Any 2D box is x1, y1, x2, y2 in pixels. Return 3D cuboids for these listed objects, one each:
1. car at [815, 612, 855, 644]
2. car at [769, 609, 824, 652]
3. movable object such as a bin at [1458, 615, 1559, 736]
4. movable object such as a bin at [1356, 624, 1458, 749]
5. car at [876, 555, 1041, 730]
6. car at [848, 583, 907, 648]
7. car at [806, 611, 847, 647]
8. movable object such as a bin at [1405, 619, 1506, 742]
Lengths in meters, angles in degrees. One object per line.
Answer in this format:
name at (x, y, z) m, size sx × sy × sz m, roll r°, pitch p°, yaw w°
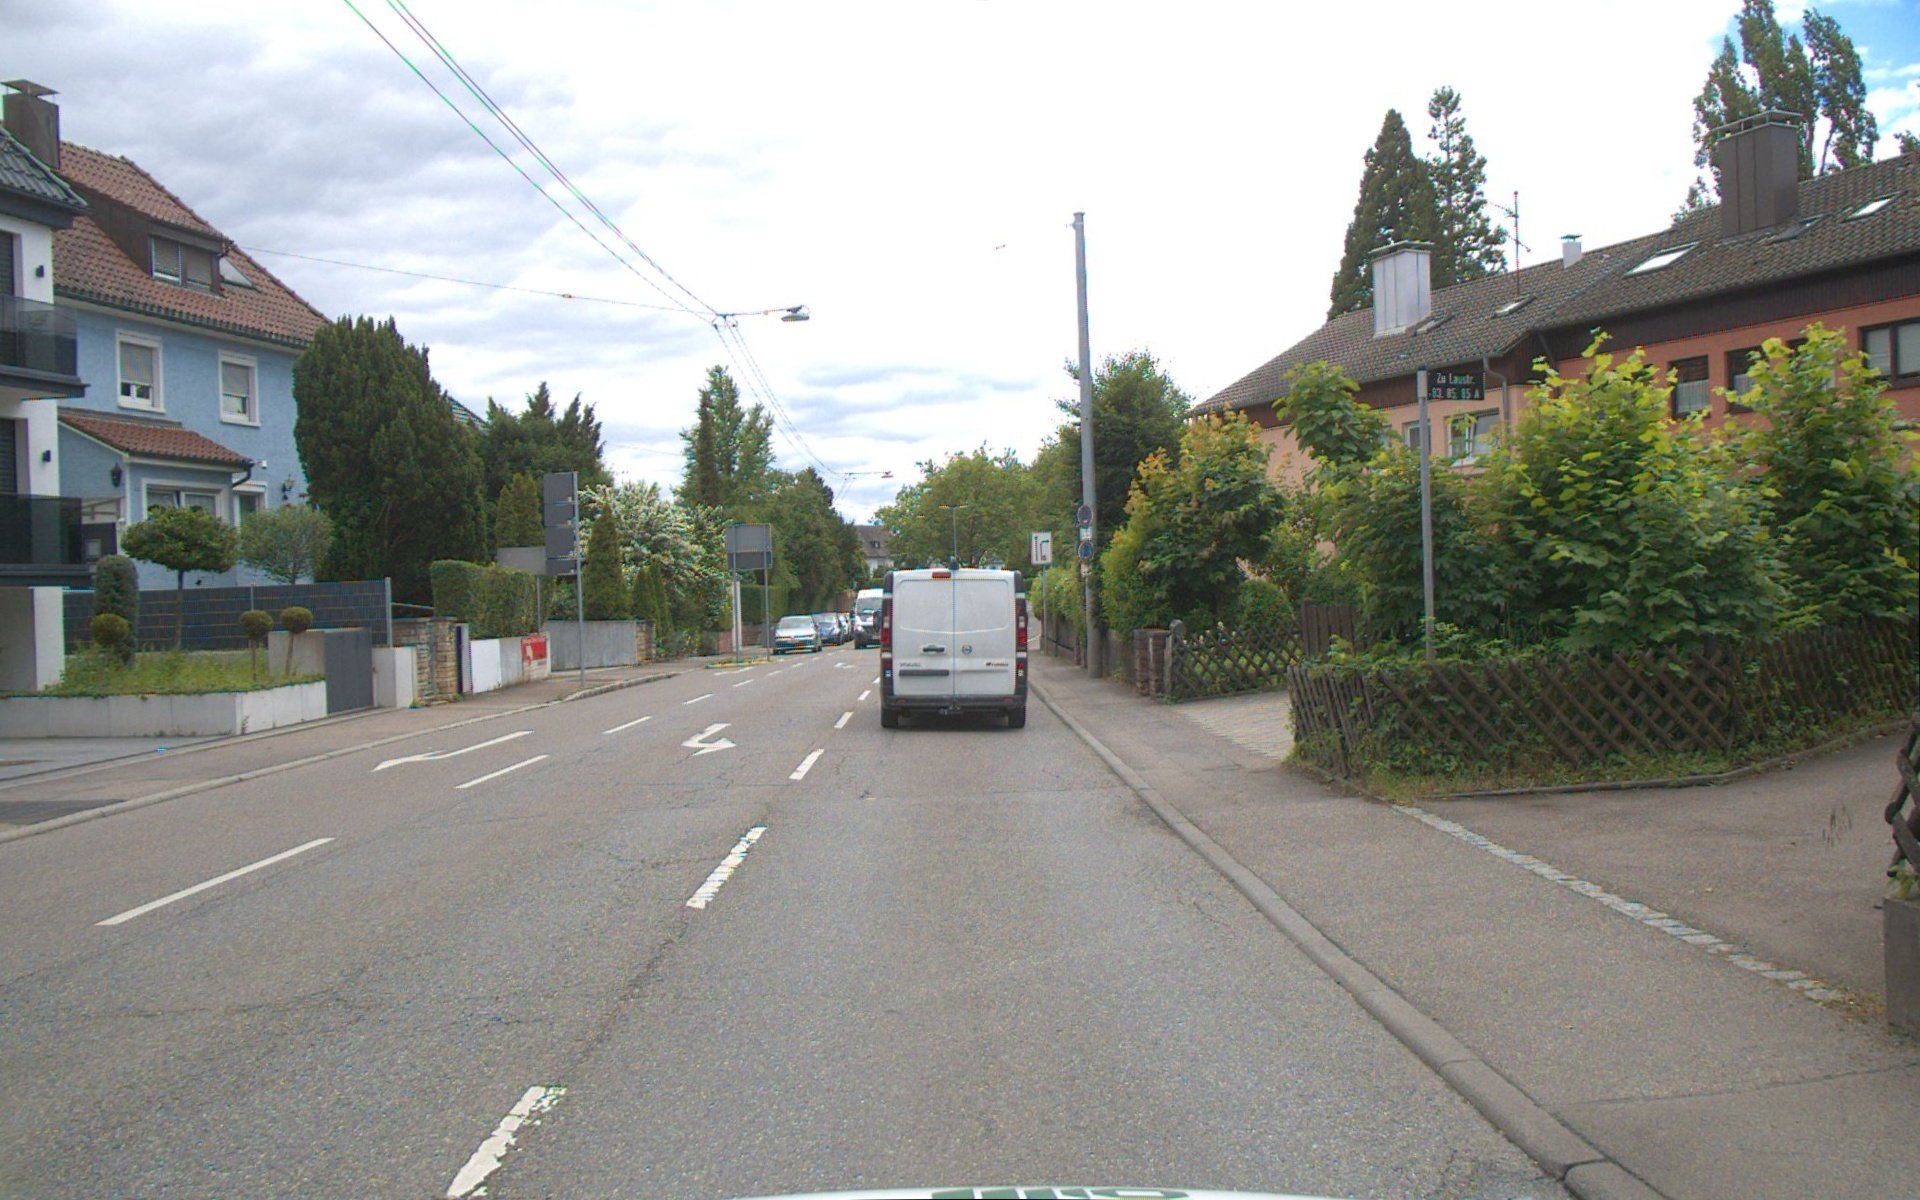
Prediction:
car at (-6.656, 1.468, 88.633) m, size 1.851 × 1.520 × 4.026 m, roll -3°, pitch 0°, yaw -1°
car at (-6.455, 1.191, 65.760) m, size 1.773 × 1.480 × 4.412 m, roll -4°, pitch 0°, yaw -2°
movable object such as a bin at (4.677, 0.631, 14.123) m, size 0.440 × 0.972 × 0.683 m, roll -5°, pitch 1°, yaw -17°
movable object such as a bin at (3.726, 0.708, 13.809) m, size 0.440 × 0.972 × 0.682 m, roll -5°, pitch 1°, yaw -21°
car at (-0.073, 0.508, 22.171) m, size 1.965 × 2.073 × 5.008 m, roll 0°, pitch 0°, yaw -1°
car at (-3.403, 0.643, 69.303) m, size 2.068 × 2.542 × 6.124 m, roll -2°, pitch -1°, yaw 0°
car at (-6.474, 1.404, 80.663) m, size 1.645 × 1.583 × 3.970 m, roll -3°, pitch -1°, yaw -1°
movable object such as a bin at (4.182, 0.664, 13.985) m, size 0.440 × 0.972 × 0.683 m, roll -5°, pitch 1°, yaw -17°
